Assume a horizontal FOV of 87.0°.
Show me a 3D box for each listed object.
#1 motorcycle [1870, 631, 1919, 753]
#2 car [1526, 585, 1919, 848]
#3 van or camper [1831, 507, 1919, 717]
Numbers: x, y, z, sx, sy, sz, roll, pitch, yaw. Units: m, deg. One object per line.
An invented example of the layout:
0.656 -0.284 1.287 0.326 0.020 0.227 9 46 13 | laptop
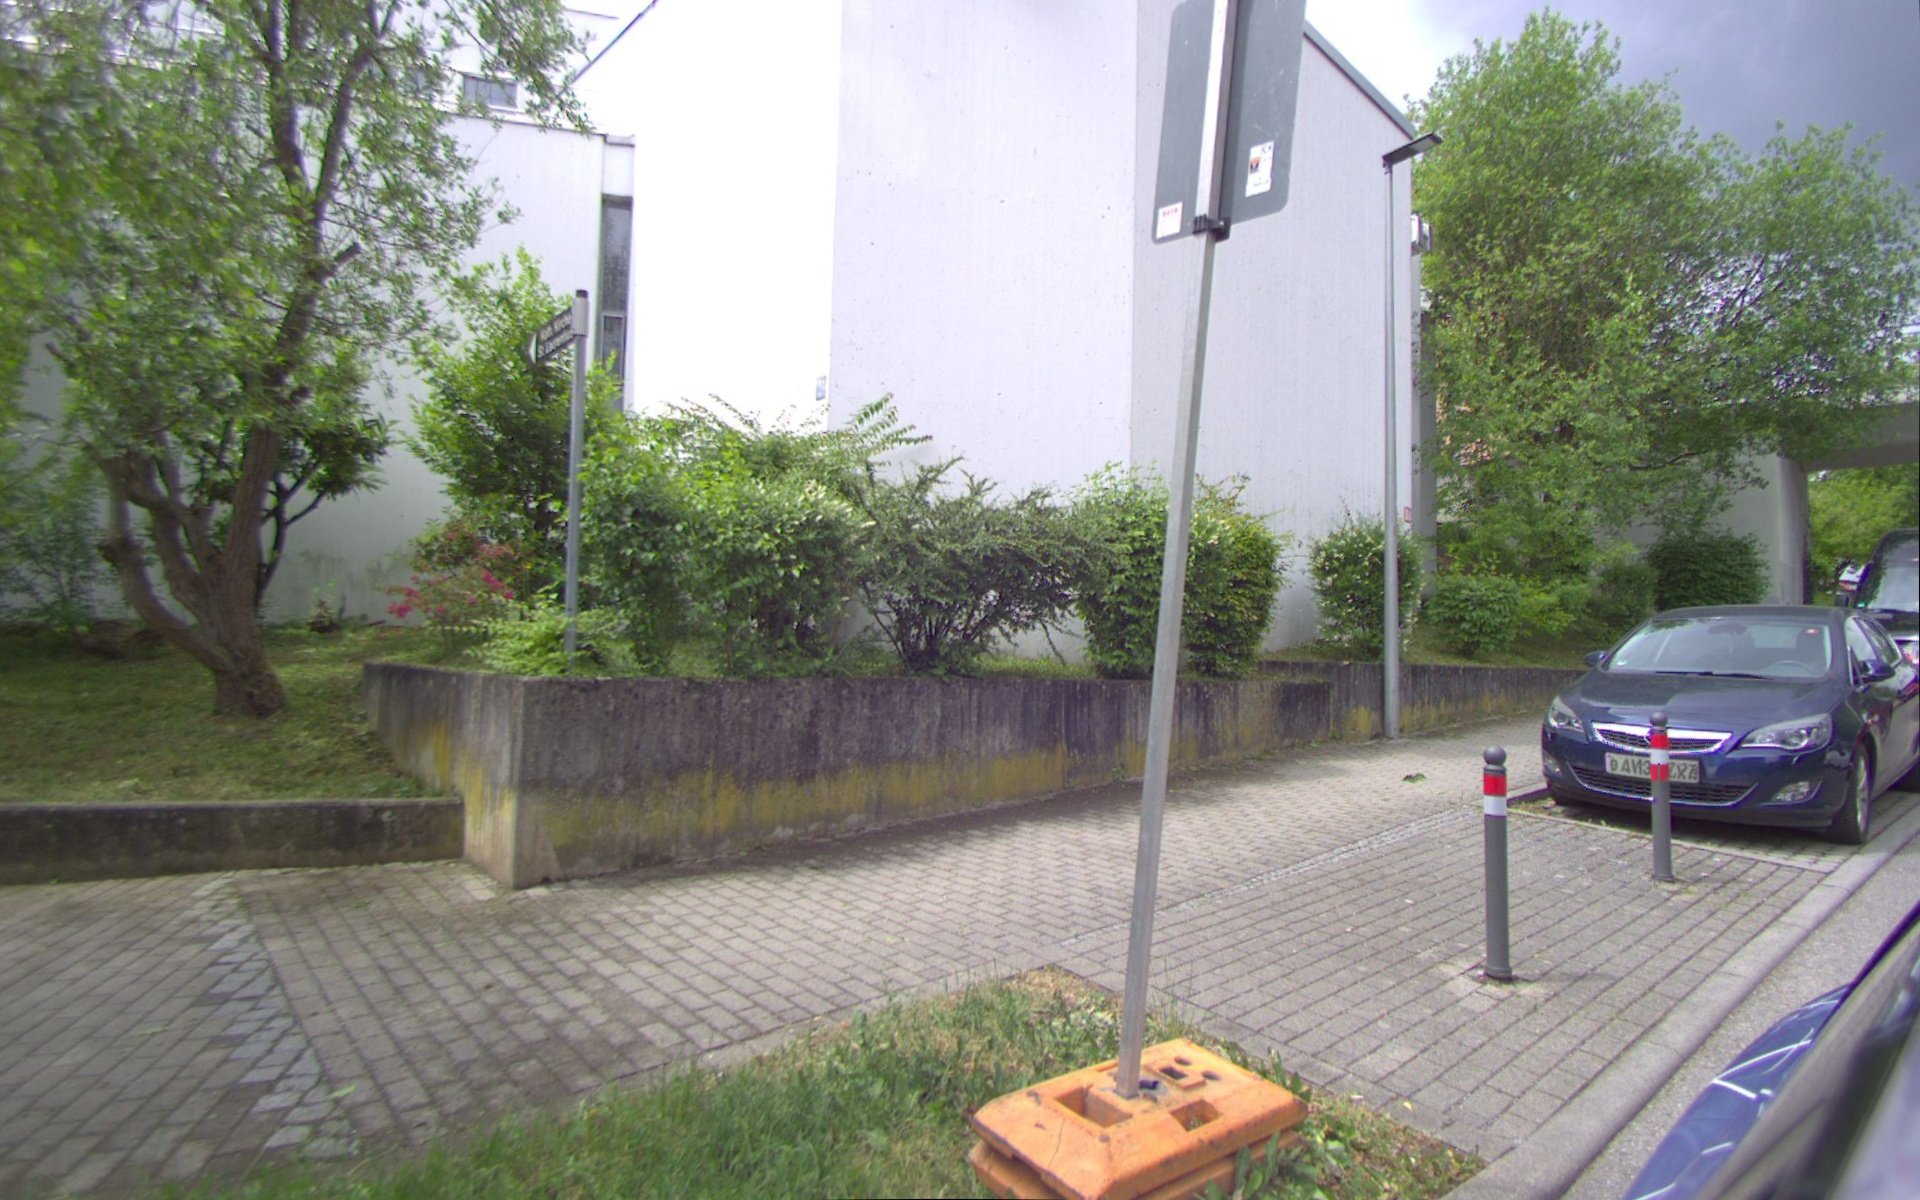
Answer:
9.689 0.892 10.194 0.707 1.081 1.903 -1 0 40 | motorcycle
5.884 0.630 7.442 3.928 1.438 1.694 0 0 -39 | car
13.931 0.116 13.771 5.652 2.527 1.999 -1 0 -37 | van or camper
